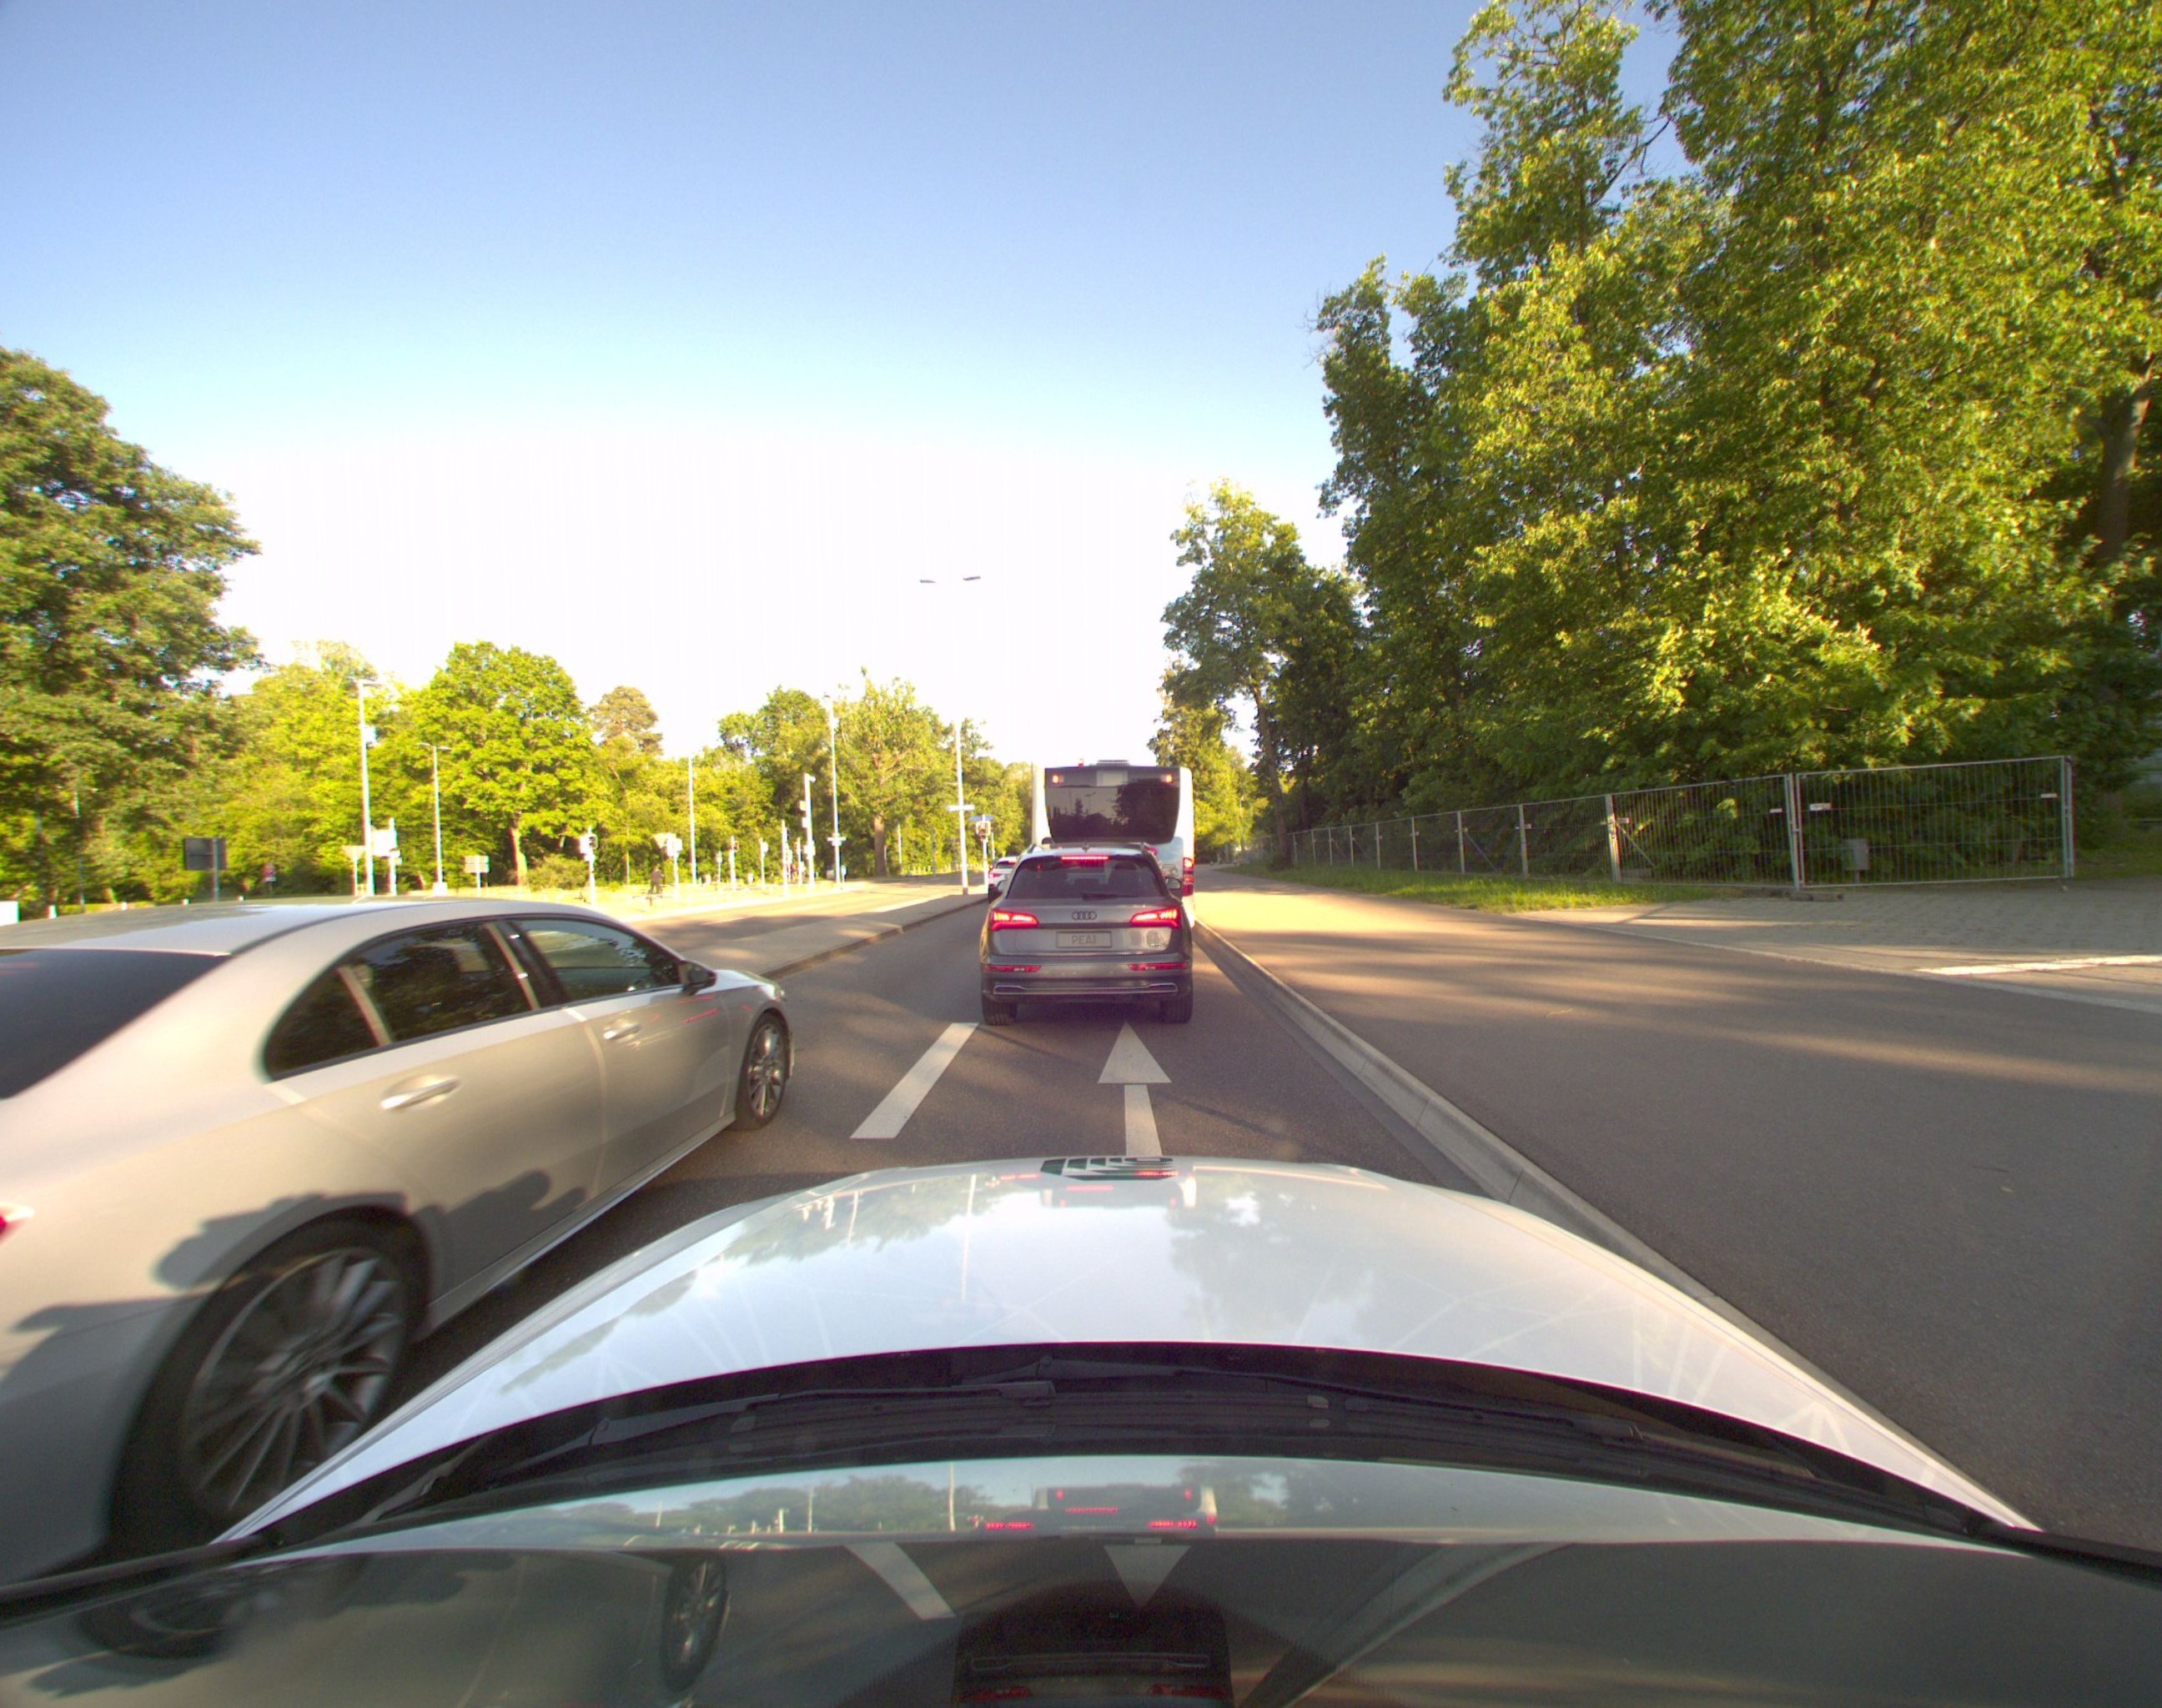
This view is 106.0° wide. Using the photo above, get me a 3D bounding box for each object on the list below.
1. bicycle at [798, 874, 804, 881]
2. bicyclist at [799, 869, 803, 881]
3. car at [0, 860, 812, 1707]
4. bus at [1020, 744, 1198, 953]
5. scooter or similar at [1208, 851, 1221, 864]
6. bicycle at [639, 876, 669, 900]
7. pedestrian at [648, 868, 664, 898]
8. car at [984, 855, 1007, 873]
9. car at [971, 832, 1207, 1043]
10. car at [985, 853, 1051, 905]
[{"bbox_3d":[-22.293,1.879,64.894,0.266,0.581,0.838,0,-1,-4],"label":"bicycle"},{"bbox_3d":[-22.292,1.648,64.895,0.272,0.963,0.240,0,-1,-4],"label":"bicyclist"},{"bbox_3d":[-2.666,0.786,3.135,1.779,1.444,4.278,0,1,1],"label":"car"},{"bbox_3d":[0.579,-0.111,15.275,2.667,3.142,5.887,0,0,3],"label":"bus"},{"bbox_3d":[12.781,0.333,77.871,1.175,1.174,0.661,0,0,13],"label":"scooter or similar"},{"bbox_3d":[-22.634,1.787,43.237,0.466,1.178,2.005,0,-1,2],"label":"bicycle"},{"bbox_3d":[-22.681,1.551,43.440,0.480,1.562,0.649,0,-1,1],"label":"pedestrian"},{"bbox_3d":[-8.537,0.950,81.442,1.990,1.662,3.995,-3,0,-4],"label":"car"},{"bbox_3d":[0.125,0.643,8.461,1.861,1.663,4.002,0,0,2],"label":"car"},{"bbox_3d":[-2.077,0.789,27.725,1.801,1.572,4.002,0,1,2],"label":"car"}]
